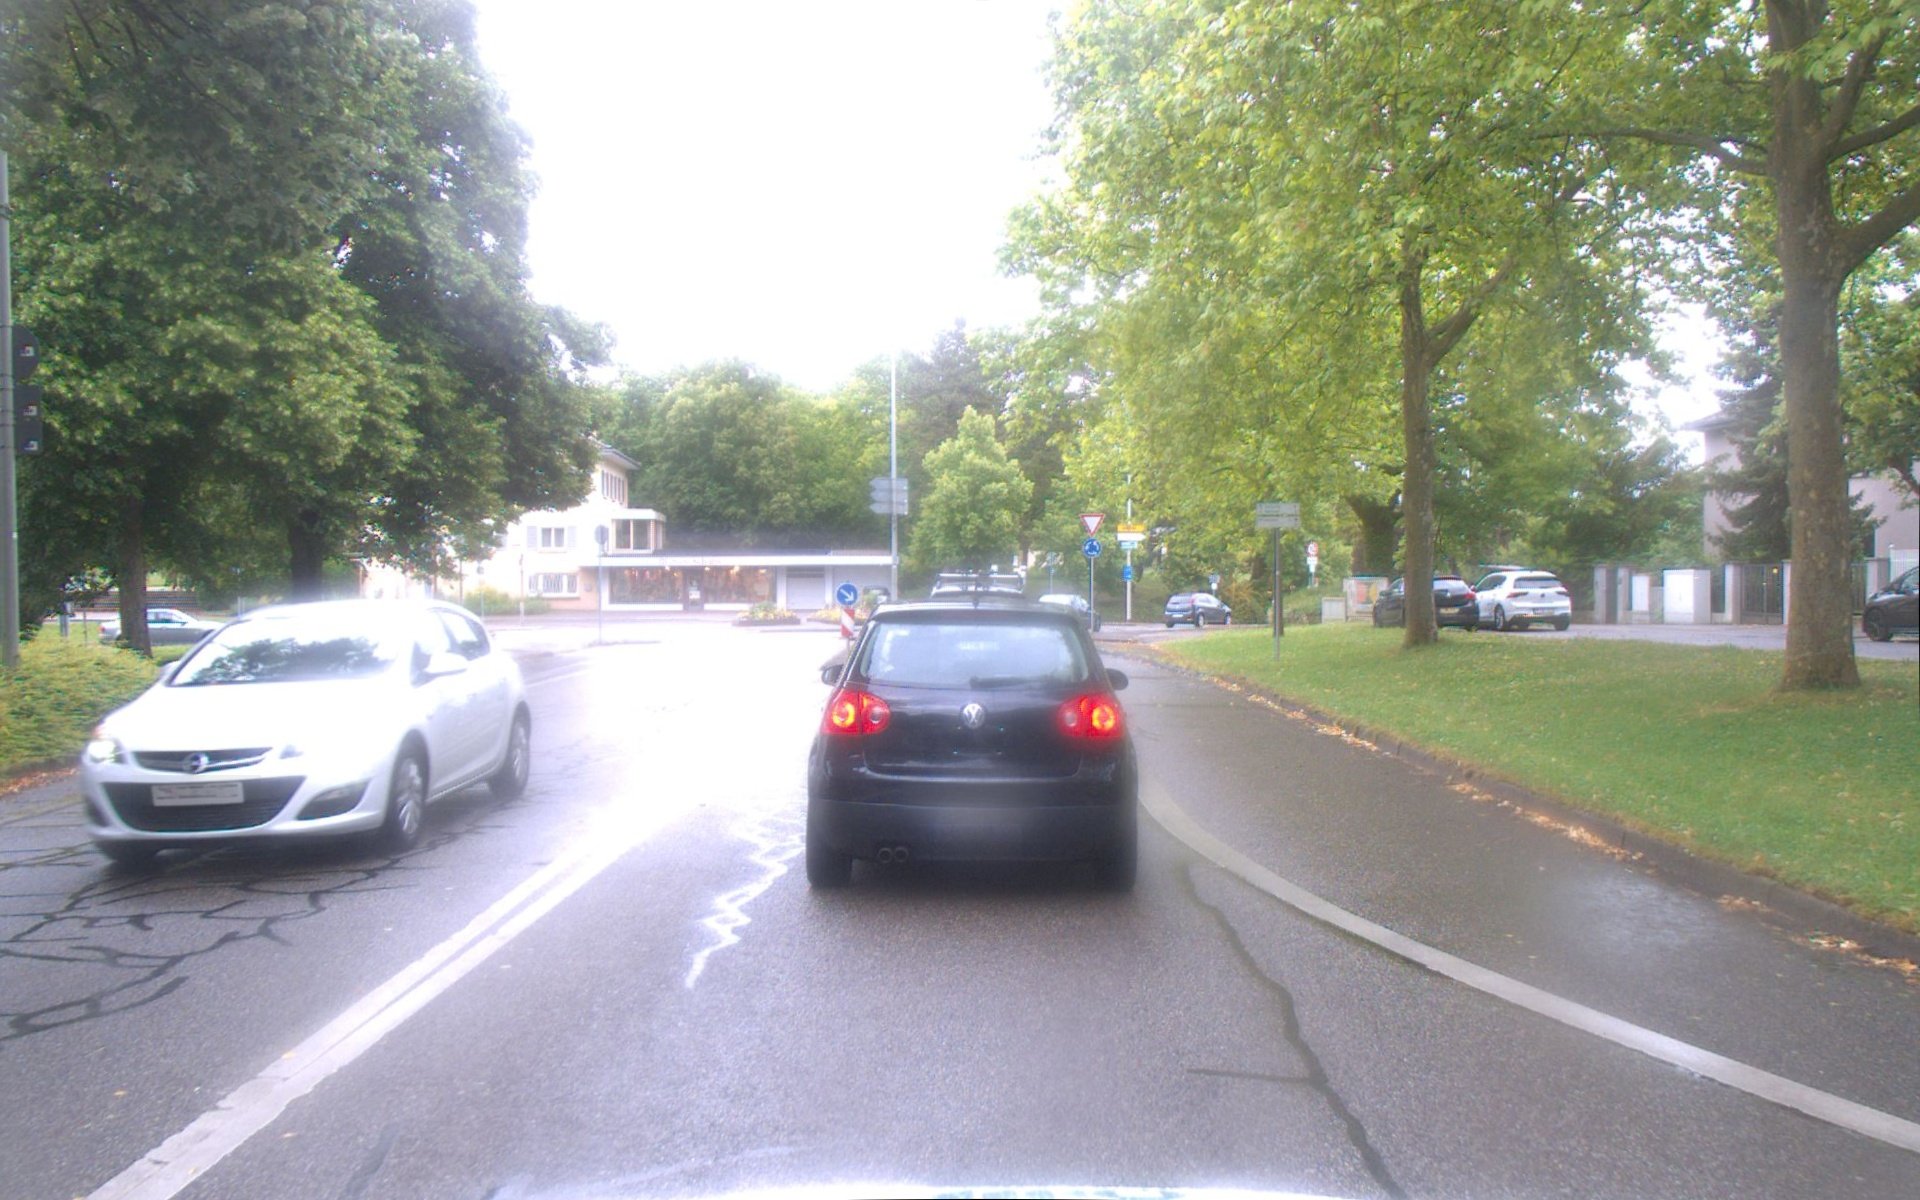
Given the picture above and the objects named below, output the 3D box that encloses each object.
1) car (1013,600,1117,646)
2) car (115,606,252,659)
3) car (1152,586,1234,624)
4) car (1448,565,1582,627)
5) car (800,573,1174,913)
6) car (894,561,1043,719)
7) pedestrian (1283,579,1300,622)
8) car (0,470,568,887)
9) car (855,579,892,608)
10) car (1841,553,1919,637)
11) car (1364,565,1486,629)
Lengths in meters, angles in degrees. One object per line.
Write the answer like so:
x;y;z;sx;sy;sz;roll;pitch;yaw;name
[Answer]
3.803;0.833;59.204;1.959;1.557;3.987;1;0;34;car
-26.999;1.134;57.627;3.950;1.713;1.993;1;0;-13;car
10.130;0.238;71.598;1.959;1.557;3.987;1;0;34;car
14.292;-0.093;42.849;1.808;1.497;4.424;-2;0;-2;car
0.095;0.679;9.771;1.729;1.565;3.999;1;0;-1;car
0.062;0.478;21.788;1.729;1.833;4.245;-1;0;-1;car
13.844;0.023;68.991;0.620;1.743;0.530;1;-1;16;pedestrian
-4.050;0.393;10.671;1.953;2.049;4.573;-2;0;-1;car
-4.750;-0.343;90.862;1.778;1.512;3.825;-1;1;-7;car
17.969;-0.092;29.716;1.725;1.497;4.353;-1;0;-4;car
11.886;-0.063;42.560;1.728;1.497;4.597;-2;0;-1;car
